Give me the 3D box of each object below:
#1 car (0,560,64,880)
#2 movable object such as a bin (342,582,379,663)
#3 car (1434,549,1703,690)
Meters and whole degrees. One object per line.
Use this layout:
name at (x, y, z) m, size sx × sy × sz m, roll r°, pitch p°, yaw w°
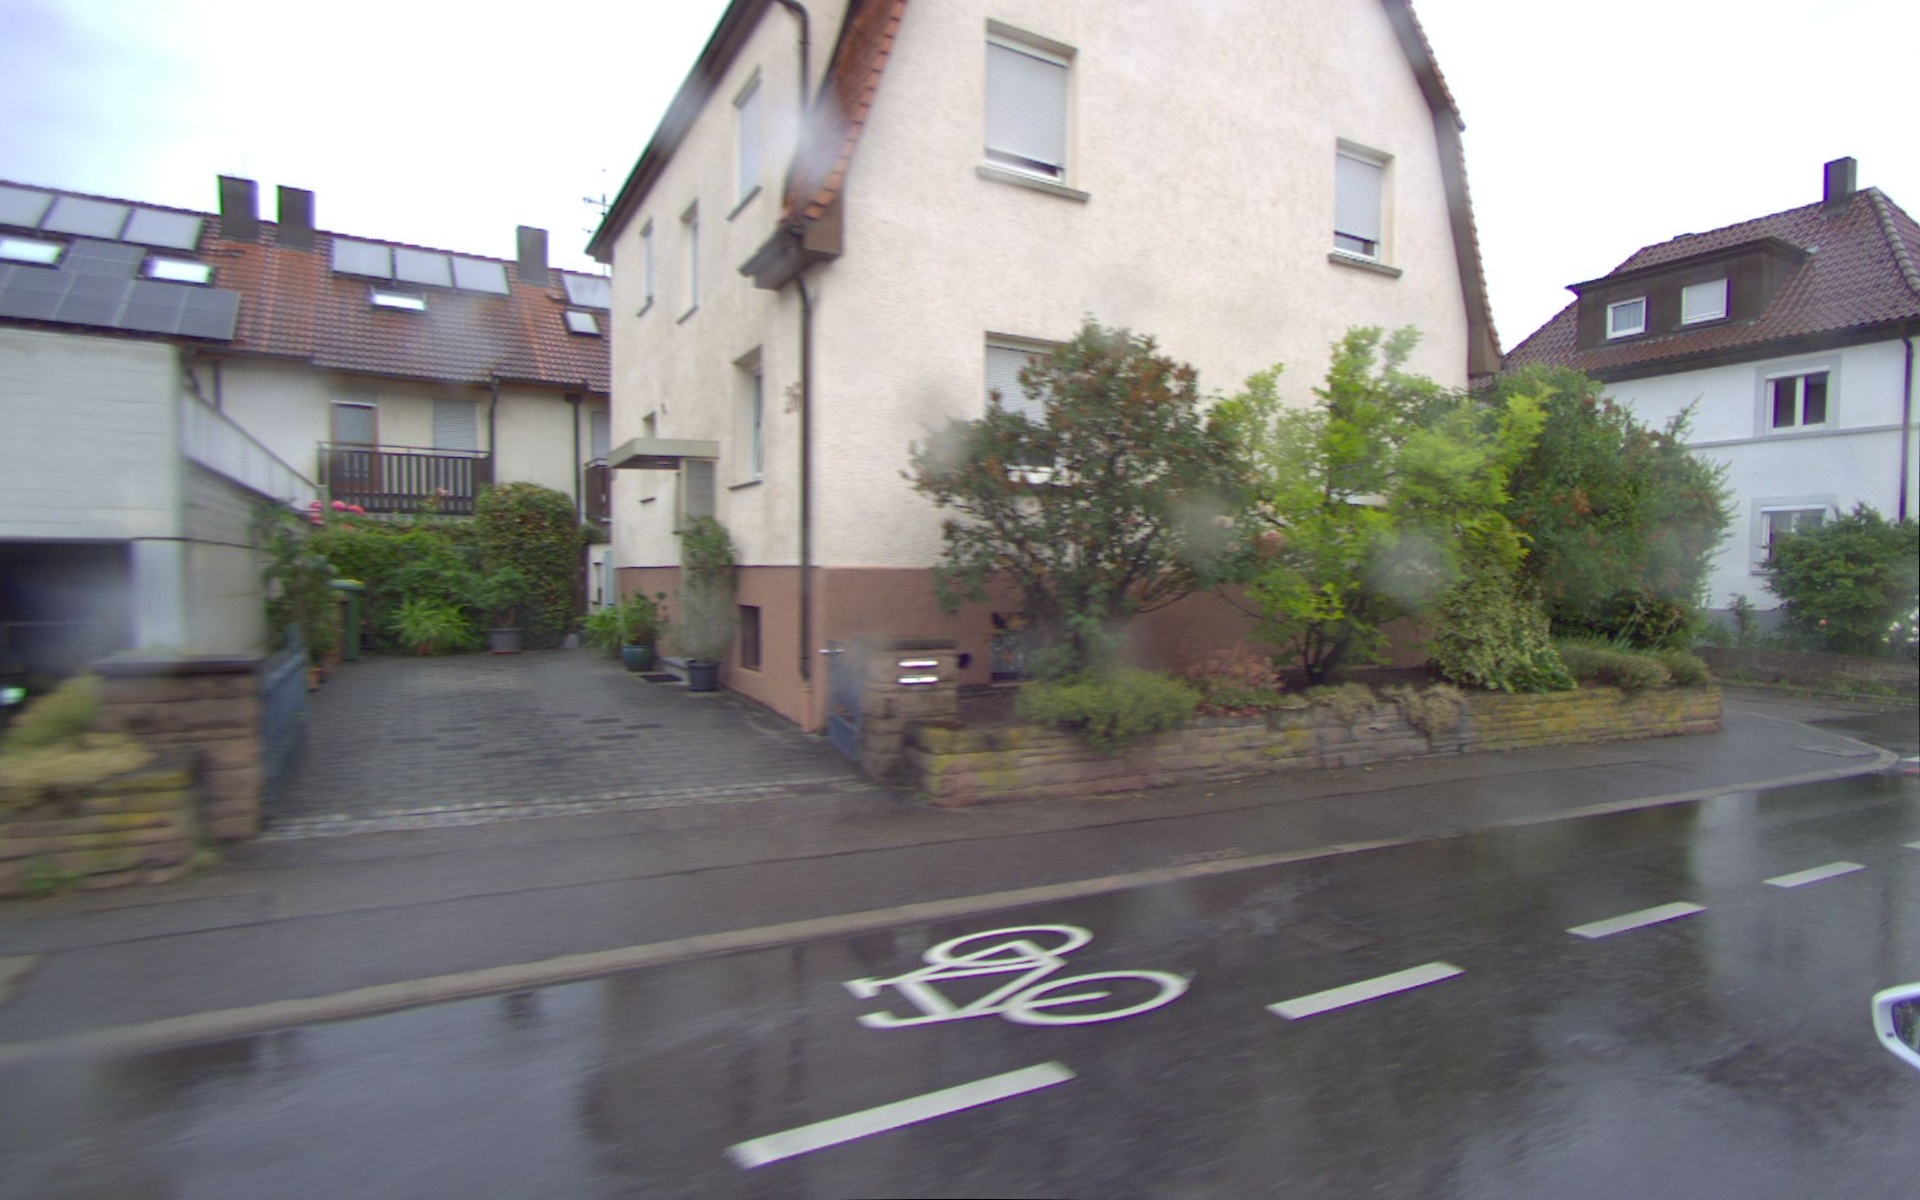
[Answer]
car at (-6.653, 0.631, 5.165) m, size 2.134 × 2.037 × 4.540 m, roll -2°, pitch -9°, yaw -30°
movable object such as a bin at (-8.069, 0.293, 13.525) m, size 0.382 × 1.052 × 0.446 m, roll -2°, pitch 4°, yaw -29°
car at (12.805, 0.287, 21.410) m, size 2.295 × 2.658 × 4.337 m, roll -2°, pitch 3°, yaw -33°
